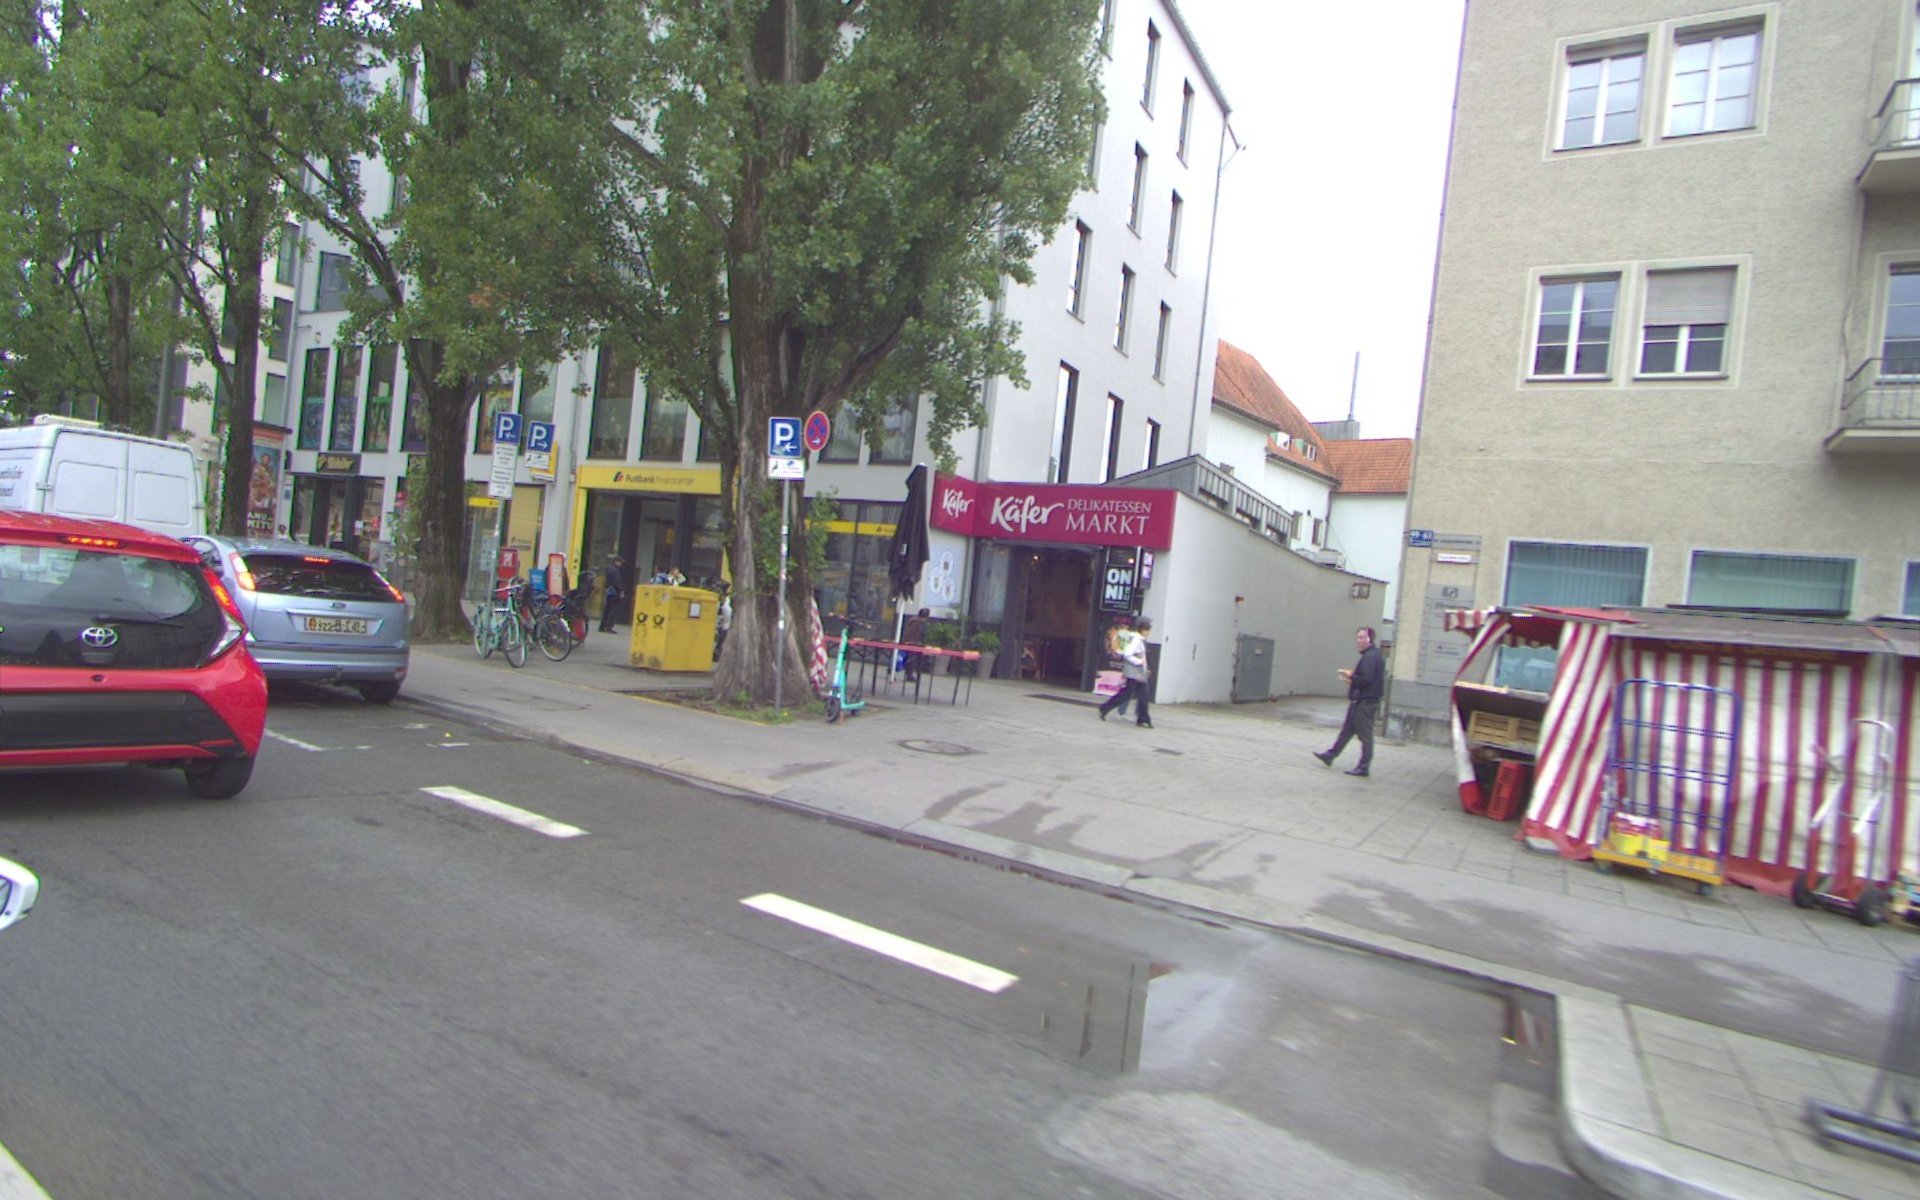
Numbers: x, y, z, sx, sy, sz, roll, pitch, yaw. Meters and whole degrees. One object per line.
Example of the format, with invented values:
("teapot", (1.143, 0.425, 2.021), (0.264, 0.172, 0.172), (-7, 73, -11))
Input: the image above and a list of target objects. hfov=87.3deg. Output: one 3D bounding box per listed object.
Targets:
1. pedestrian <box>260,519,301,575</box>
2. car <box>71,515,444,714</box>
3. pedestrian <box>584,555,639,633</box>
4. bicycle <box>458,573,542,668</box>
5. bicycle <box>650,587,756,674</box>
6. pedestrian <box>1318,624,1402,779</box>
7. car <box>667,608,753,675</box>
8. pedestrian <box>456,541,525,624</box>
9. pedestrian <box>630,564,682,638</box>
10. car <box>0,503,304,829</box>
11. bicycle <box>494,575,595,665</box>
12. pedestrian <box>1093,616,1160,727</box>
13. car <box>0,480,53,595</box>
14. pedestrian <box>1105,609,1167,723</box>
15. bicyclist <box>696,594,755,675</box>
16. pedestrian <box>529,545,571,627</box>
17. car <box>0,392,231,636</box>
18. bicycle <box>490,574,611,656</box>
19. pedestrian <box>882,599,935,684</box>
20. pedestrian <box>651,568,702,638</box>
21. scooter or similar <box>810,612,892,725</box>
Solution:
("pedestrian", (-20.323, -1.575, 30.101), (0.738, 1.578, 0.682), (7, 1, 33))
("car", (-7.208, 0.098, 10.199), (4.083, 1.470, 1.727), (6, -2, 36))
("pedestrian", (-7.890, -0.133, 22.777), (0.785, 1.670, 0.691), (7, 1, 31))
("bicycle", (-6.636, 0.270, 14.466), (0.475, 1.174, 1.803), (6, 0, -42))
("bicycle", (-4.208, 0.490, 16.420), (1.744, 1.210, 0.527), (6, 1, 32))
("pedestrian", (4.939, 1.229, 12.468), (0.706, 1.793, 0.609), (6, 1, 15))
("car", (-4.083, 0.669, 16.402), (1.472, 0.916, 0.367), (6, 1, 32))
("pedestrian", (-10.127, -0.378, 21.685), (1.006, 1.657, 0.800), (7, 1, 32))
("pedestrian", (-7.001, 0.028, 23.165), (0.760, 1.605, 0.691), (7, 1, 31))
("car", (-5.600, 0.192, 5.747), (3.537, 1.463, 1.668), (6, -2, 32))
("bicycle", (-6.345, 0.294, 15.336), (1.606, 1.174, 0.478), (7, 0, 32))
("pedestrian", (2.558, 1.094, 15.436), (0.625, 1.604, 0.641), (7, 2, 39))
("car", (-17.998, -1.294, 17.739), (4.706, 1.826, 1.930), (6, -1, 36))
("pedestrian", (2.809, 1.049, 16.056), (0.588, 1.723, 0.578), (7, 2, 39))
("bicyclist", (-3.764, 0.557, 16.150), (0.631, 1.211, 0.538), (7, 2, 31))
("pedestrian", (-9.232, -0.317, 22.675), (0.711, 1.747, 0.736), (5, 1, -21))
("car", (-12.782, -1.203, 14.213), (5.465, 2.774, 1.996), (6, -1, 33))
("bicycle", (-6.798, 0.258, 16.733), (0.696, 1.174, 1.624), (7, 0, 44))
("pedestrian", (-0.972, 0.760, 18.763), (0.640, 1.494, 0.756), (7, -1, -20))
("pedestrian", (-6.731, 0.076, 23.892), (0.697, 1.555, 0.765), (6, 2, 32))
("scooter or similar", (-1.273, 0.784, 11.987), (0.393, 1.223, 1.469), (6, 1, 13))
